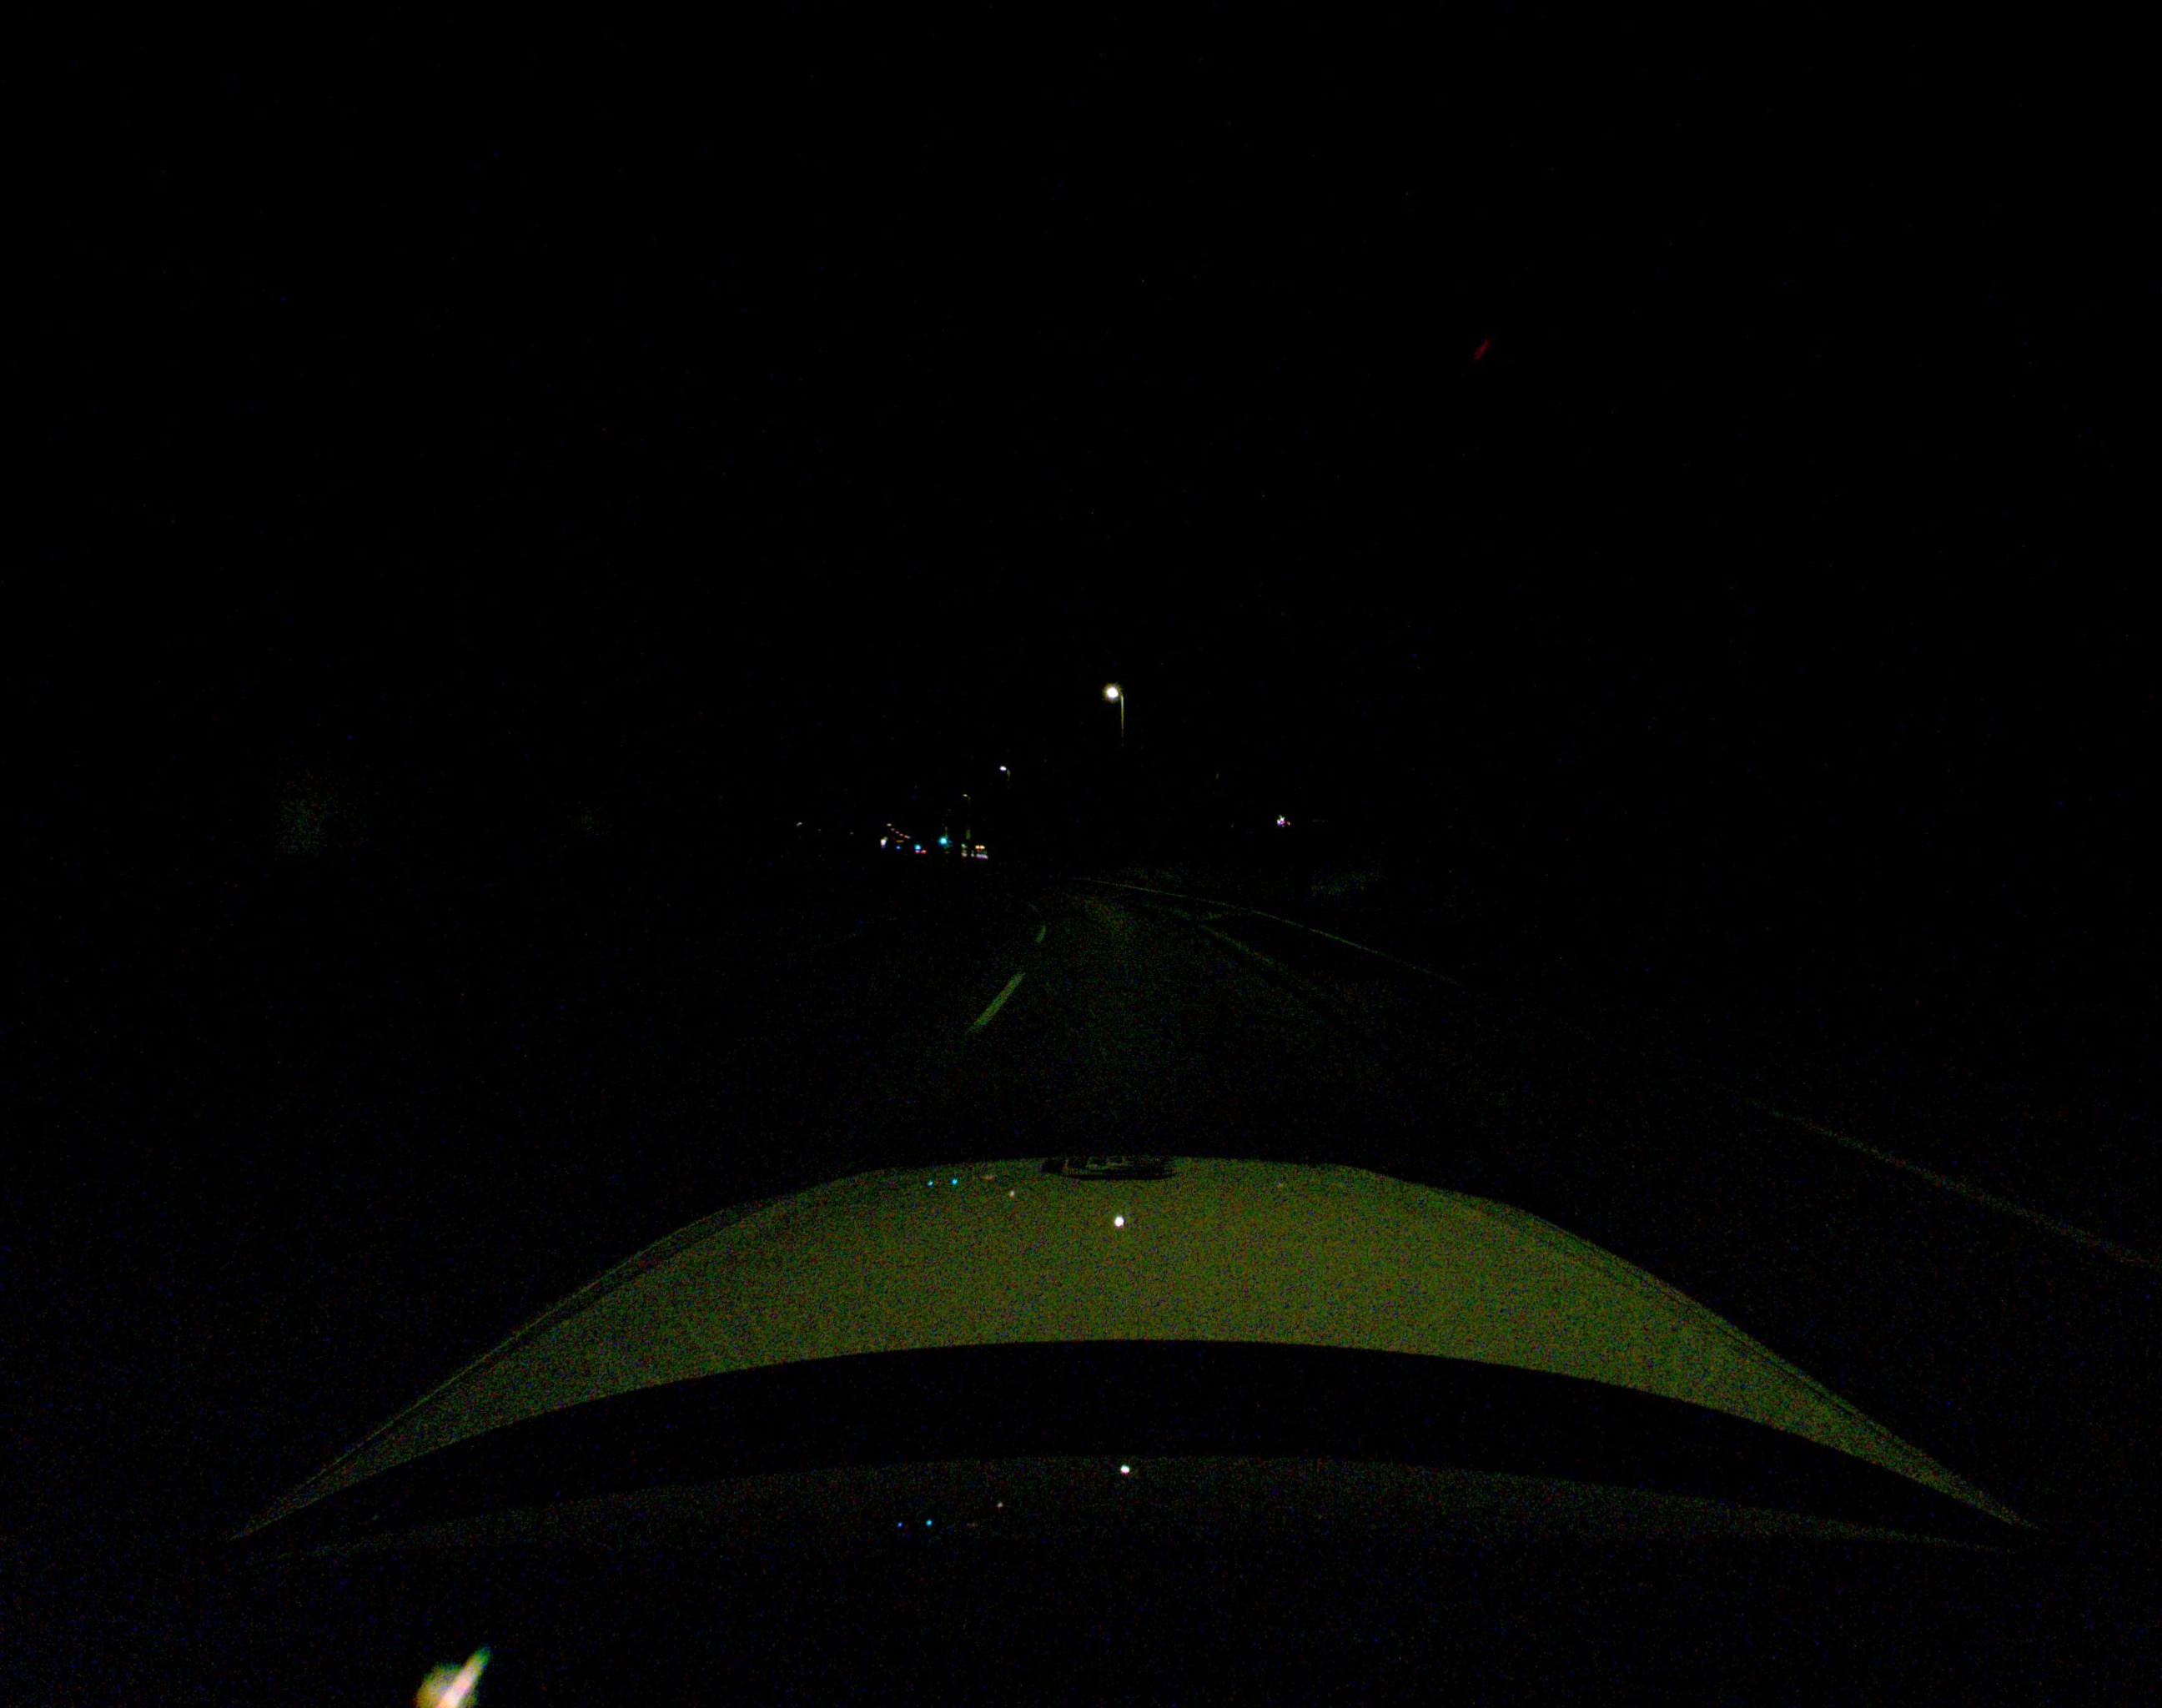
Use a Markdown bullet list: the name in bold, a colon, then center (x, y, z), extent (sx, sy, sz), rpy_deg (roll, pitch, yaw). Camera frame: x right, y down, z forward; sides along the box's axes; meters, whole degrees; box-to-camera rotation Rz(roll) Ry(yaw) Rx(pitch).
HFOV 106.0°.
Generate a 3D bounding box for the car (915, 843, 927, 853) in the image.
- **car**: center (-31.880, -1.262, 162.092), extent (2.089, 2.013, 3.983), rpy_deg (-1, 1, -12)

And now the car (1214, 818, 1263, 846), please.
- **car**: center (11.170, -1.542, 57.998), extent (1.952, 1.837, 4.098), rpy_deg (-3, 1, -11)
